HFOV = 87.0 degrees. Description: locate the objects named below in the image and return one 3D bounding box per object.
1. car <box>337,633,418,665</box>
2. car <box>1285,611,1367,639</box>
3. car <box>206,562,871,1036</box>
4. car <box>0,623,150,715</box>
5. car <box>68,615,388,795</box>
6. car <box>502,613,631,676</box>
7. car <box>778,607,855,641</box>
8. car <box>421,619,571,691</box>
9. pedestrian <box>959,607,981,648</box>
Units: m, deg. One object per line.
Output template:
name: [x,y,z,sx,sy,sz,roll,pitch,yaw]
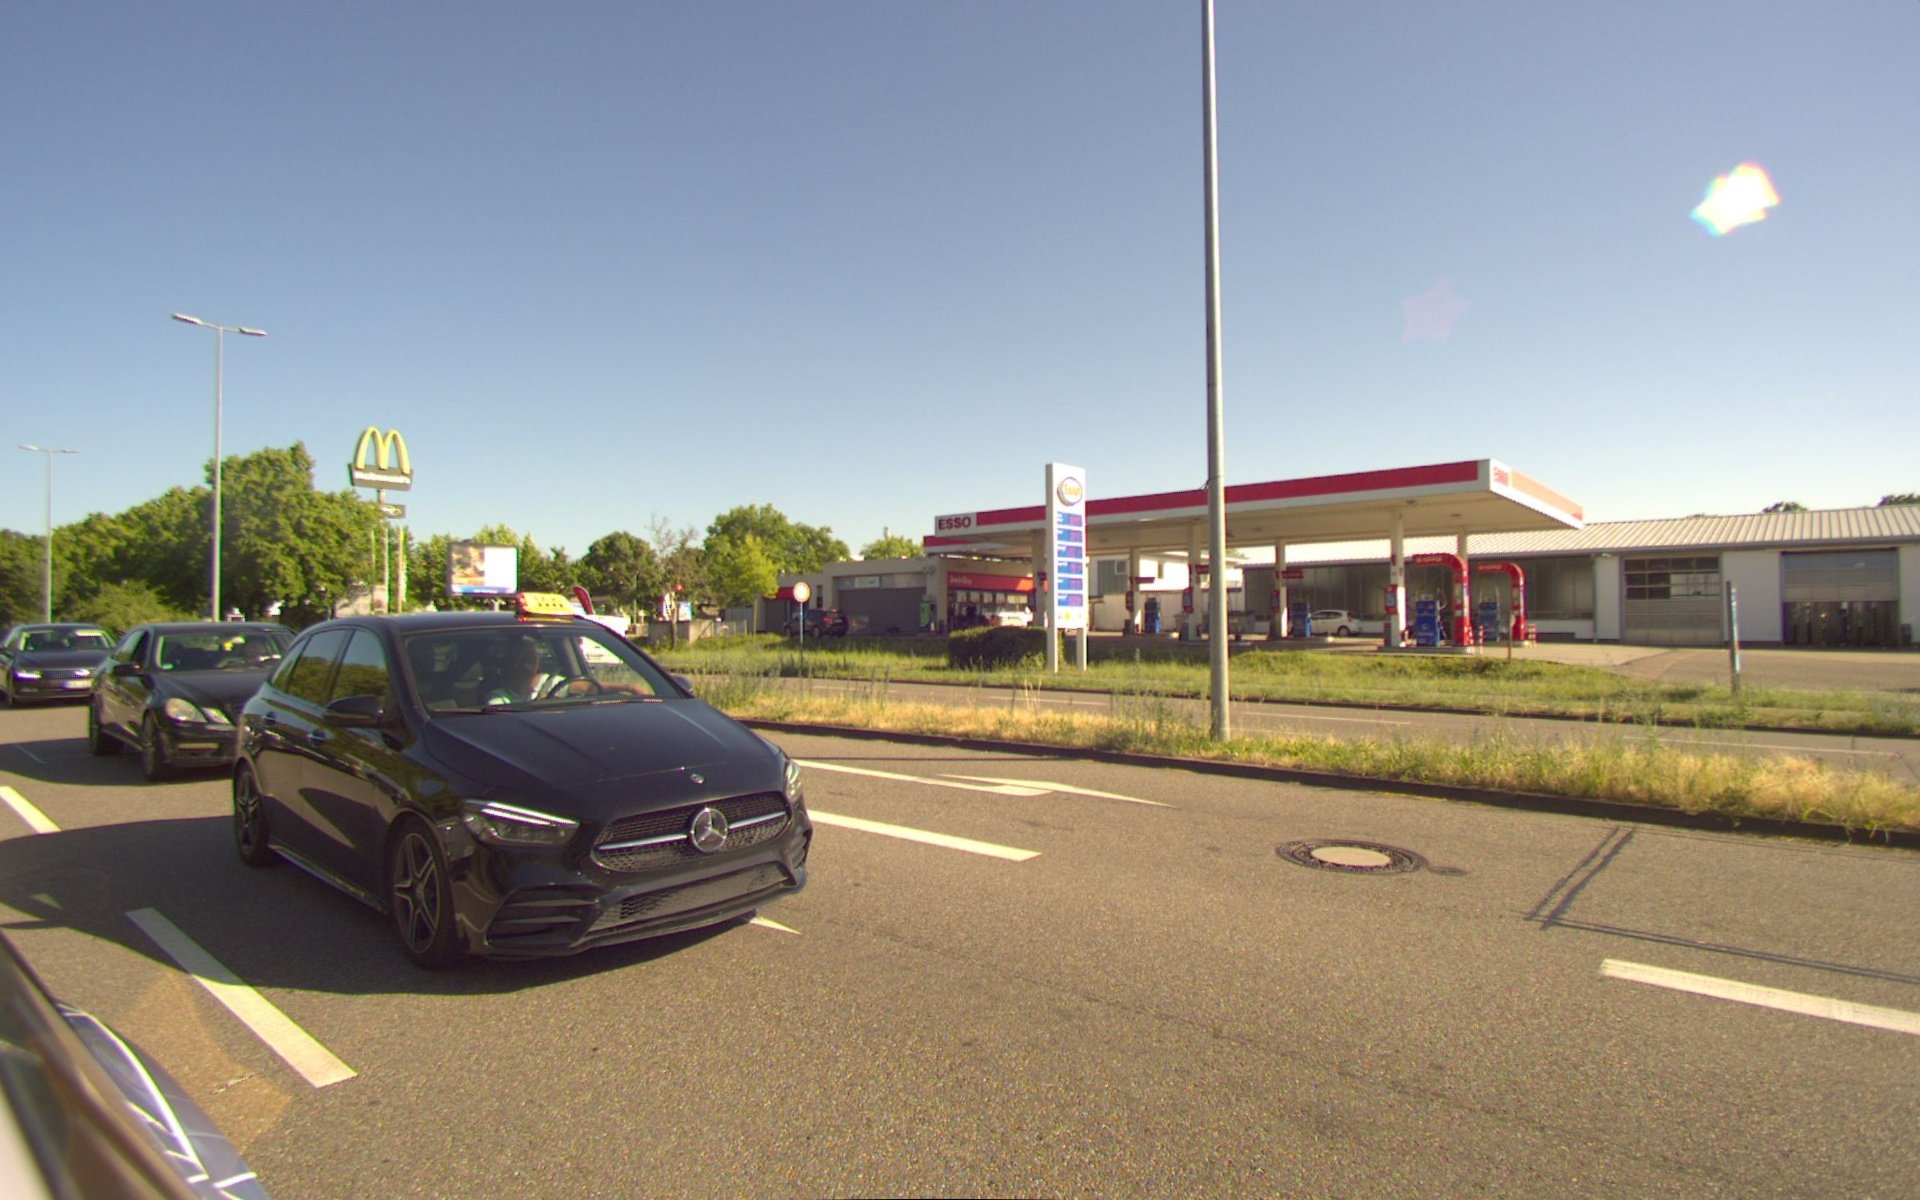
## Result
car: [-28.065,2.345,48.703,4.604,1.457,1.884,-2,-4,41]
car: [19.839,1.340,54.872,3.844,1.450,1.730,-2,-2,39]
car: [-2.571,0.743,5.595,4.187,1.638,1.780,-2,-2,42]
car: [-16.623,1.193,18.703,4.401,1.492,1.838,-2,-2,41]
car: [-7.948,0.957,10.828,4.401,1.535,1.838,-2,-2,41]
car: [-13.485,1.503,34.572,5.024,2.029,1.973,-2,-3,41]
car: [-7.836,1.335,55.043,4.117,1.783,1.972,-2,-2,43]
car: [-12.044,1.363,26.147,4.433,1.703,1.860,-2,-2,41]
pedestrian: [0.497,1.403,51.531,0.840,2.029,0.694,-2,-2,41]
